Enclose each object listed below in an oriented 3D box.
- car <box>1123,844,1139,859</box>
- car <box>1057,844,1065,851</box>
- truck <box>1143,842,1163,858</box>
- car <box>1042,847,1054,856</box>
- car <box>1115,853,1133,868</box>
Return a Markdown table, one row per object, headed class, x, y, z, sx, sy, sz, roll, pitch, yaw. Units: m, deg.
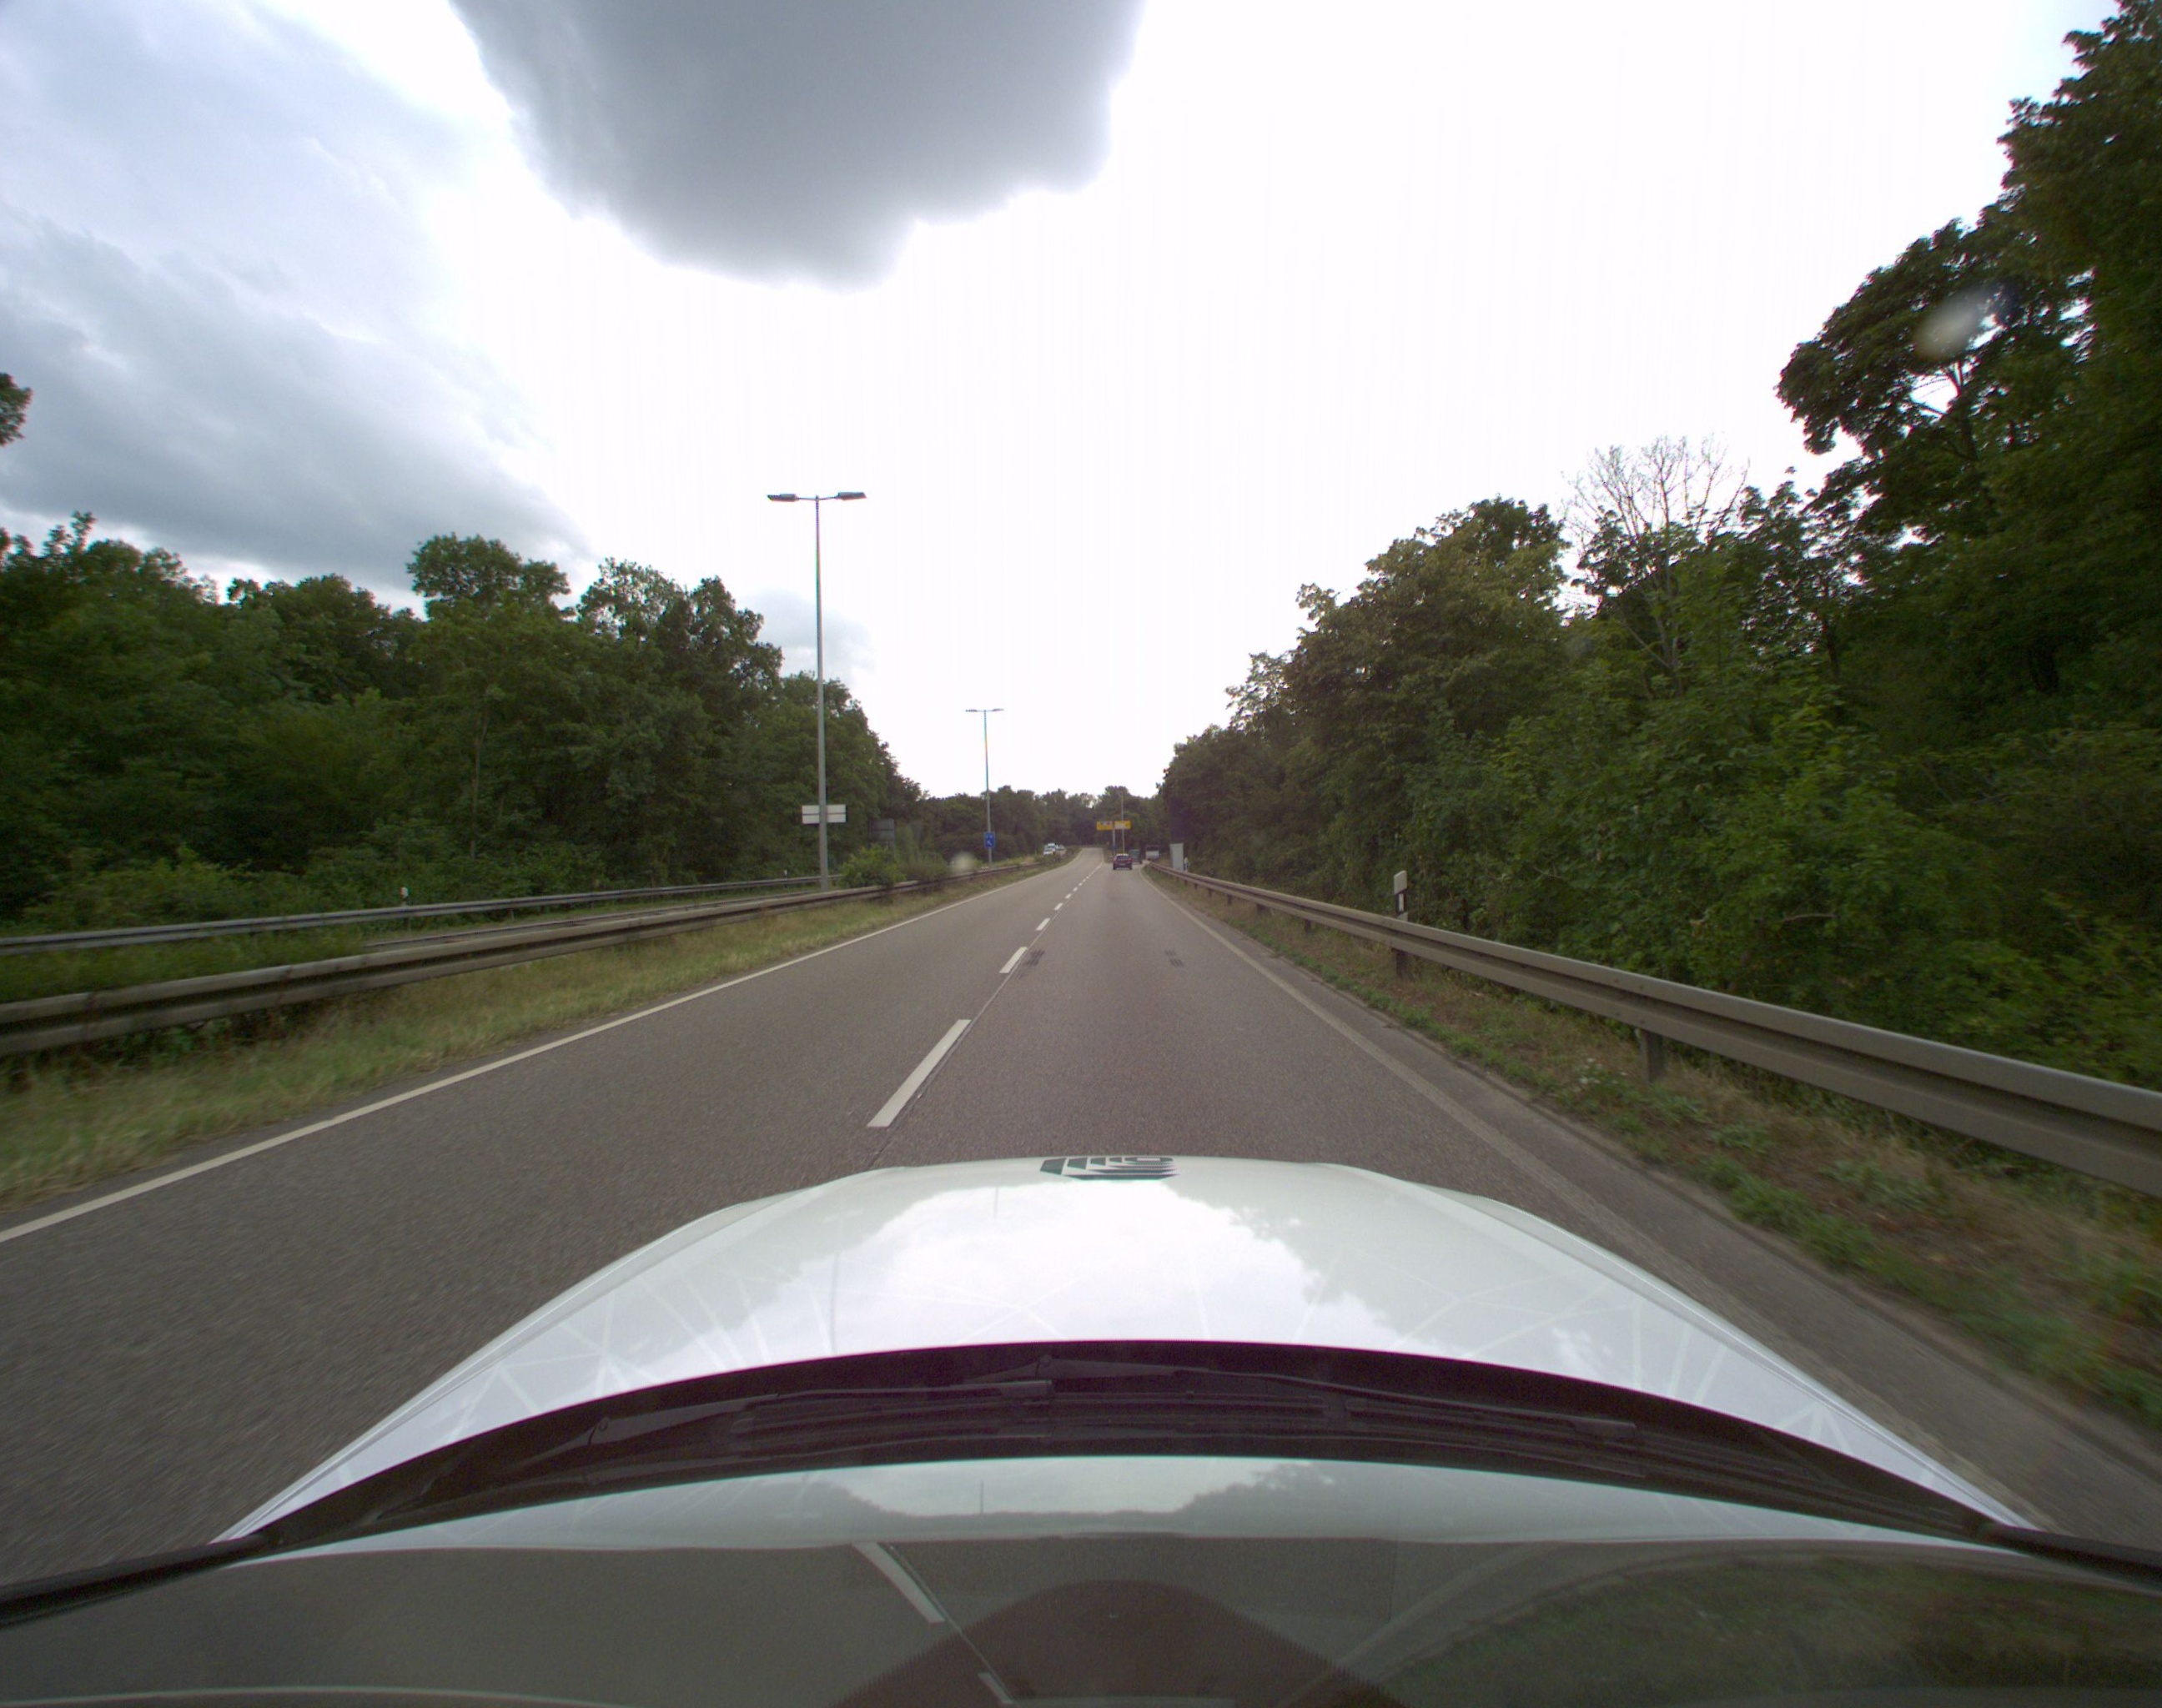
| class | x | y | z | sx | sy | sz | roll | pitch | yaw |
| --- | --- | --- | --- | --- | --- | --- | --- | --- | --- |
| car | 6.925 | -0.324 | 113.977 | 2.139 | 2.014 | 4.002 | -1 | -1 | 3 |
| car | -5.806 | -1.802 | 235.357 | 1.985 | 2.013 | 4.003 | -1 | 1 | 3 |
| truck | 13.461 | -0.695 | 151.944 | 2.963 | 2.885 | 8.010 | -2 | -1 | 9 |
| car | -6.819 | -0.530 | 168.338 | 1.985 | 1.847 | 4.003 | -1 | 1 | 3 |
| car | 4.056 | 0.666 | 77.460 | 1.619 | 1.377 | 4.002 | -1 | -1 | 3 |
